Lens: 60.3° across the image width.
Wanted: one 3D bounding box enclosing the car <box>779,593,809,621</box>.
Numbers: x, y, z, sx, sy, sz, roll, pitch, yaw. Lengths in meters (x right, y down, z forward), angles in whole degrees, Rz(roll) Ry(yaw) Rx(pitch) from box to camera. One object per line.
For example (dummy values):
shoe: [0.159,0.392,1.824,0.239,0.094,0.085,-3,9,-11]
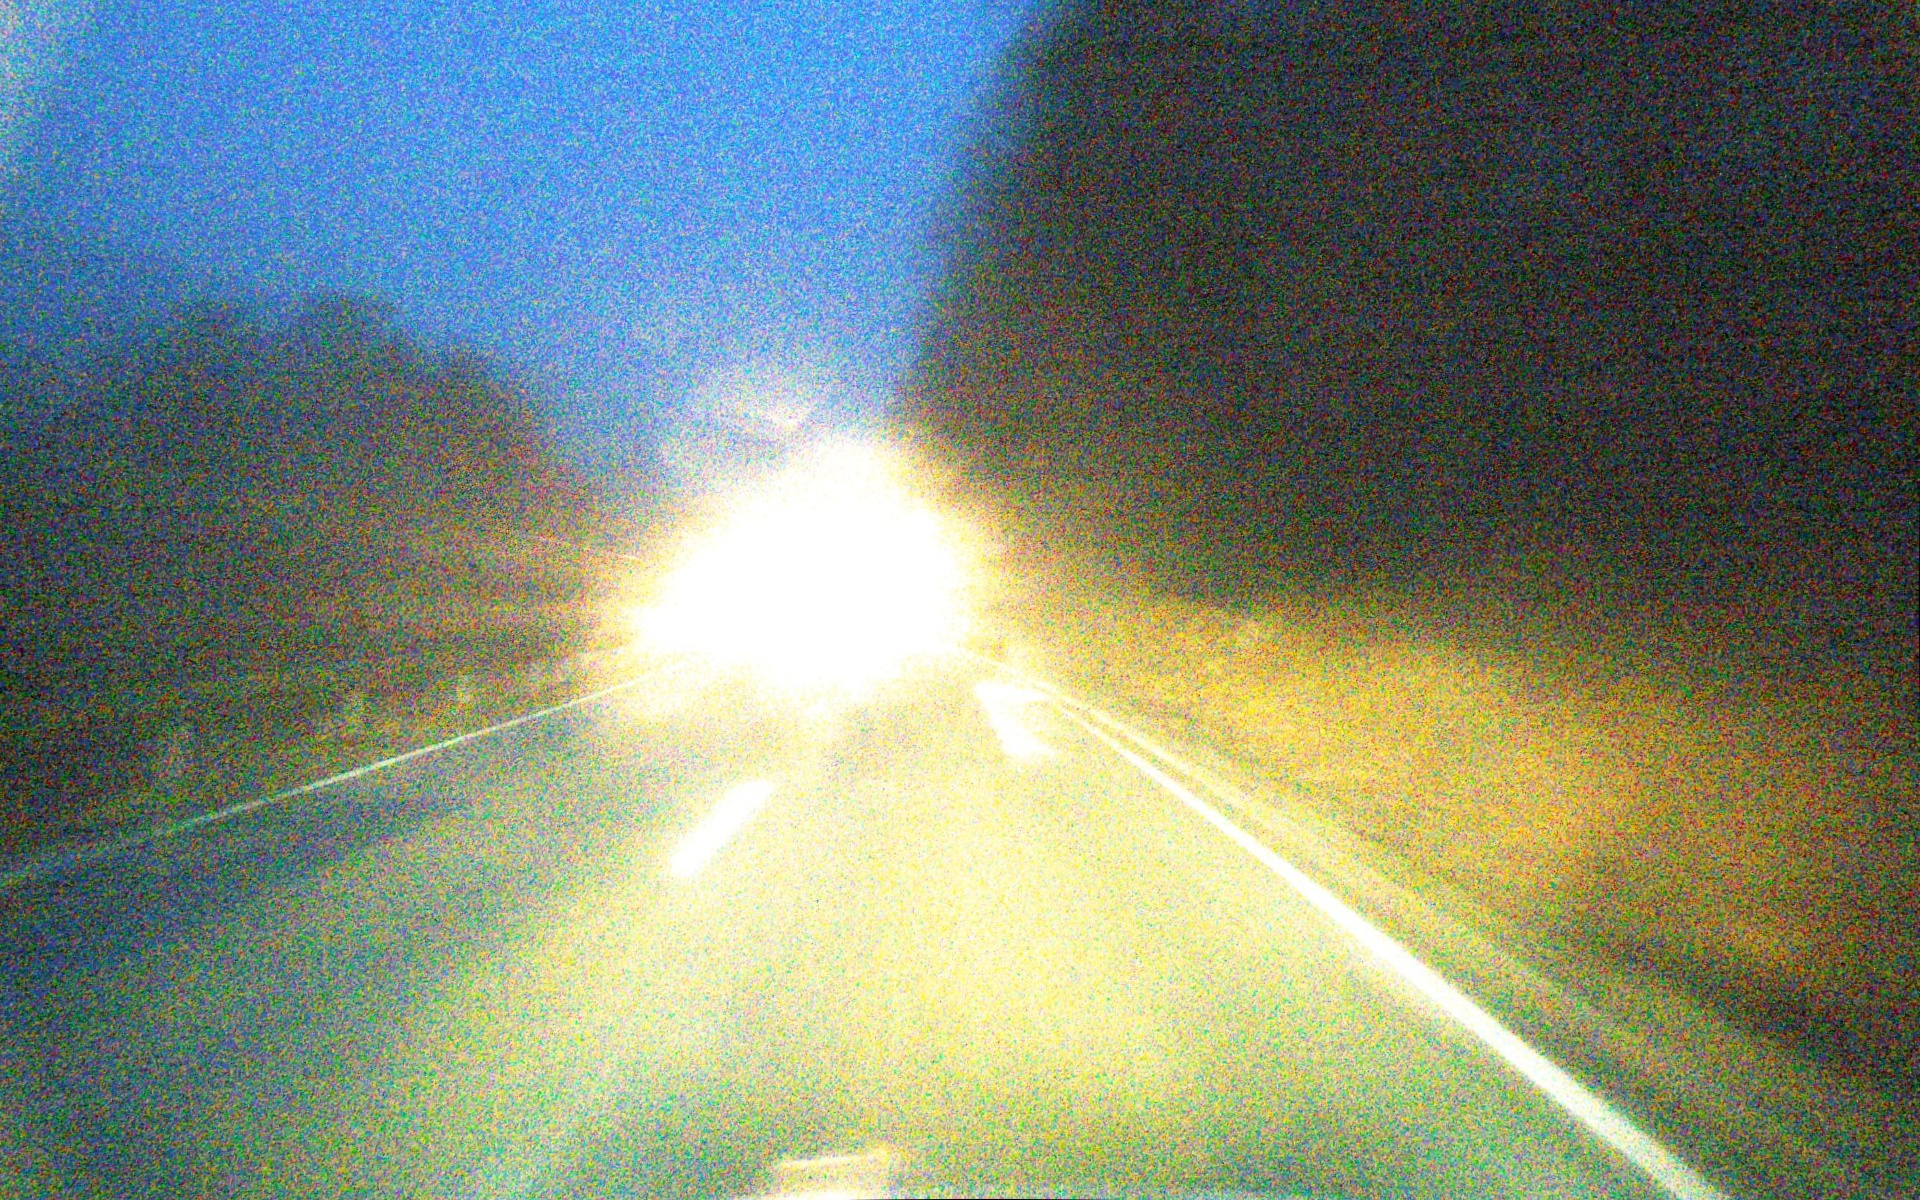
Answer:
car: [-10.038,0.398,100.069,1.688,1.641,3.998,1,0,-4]
